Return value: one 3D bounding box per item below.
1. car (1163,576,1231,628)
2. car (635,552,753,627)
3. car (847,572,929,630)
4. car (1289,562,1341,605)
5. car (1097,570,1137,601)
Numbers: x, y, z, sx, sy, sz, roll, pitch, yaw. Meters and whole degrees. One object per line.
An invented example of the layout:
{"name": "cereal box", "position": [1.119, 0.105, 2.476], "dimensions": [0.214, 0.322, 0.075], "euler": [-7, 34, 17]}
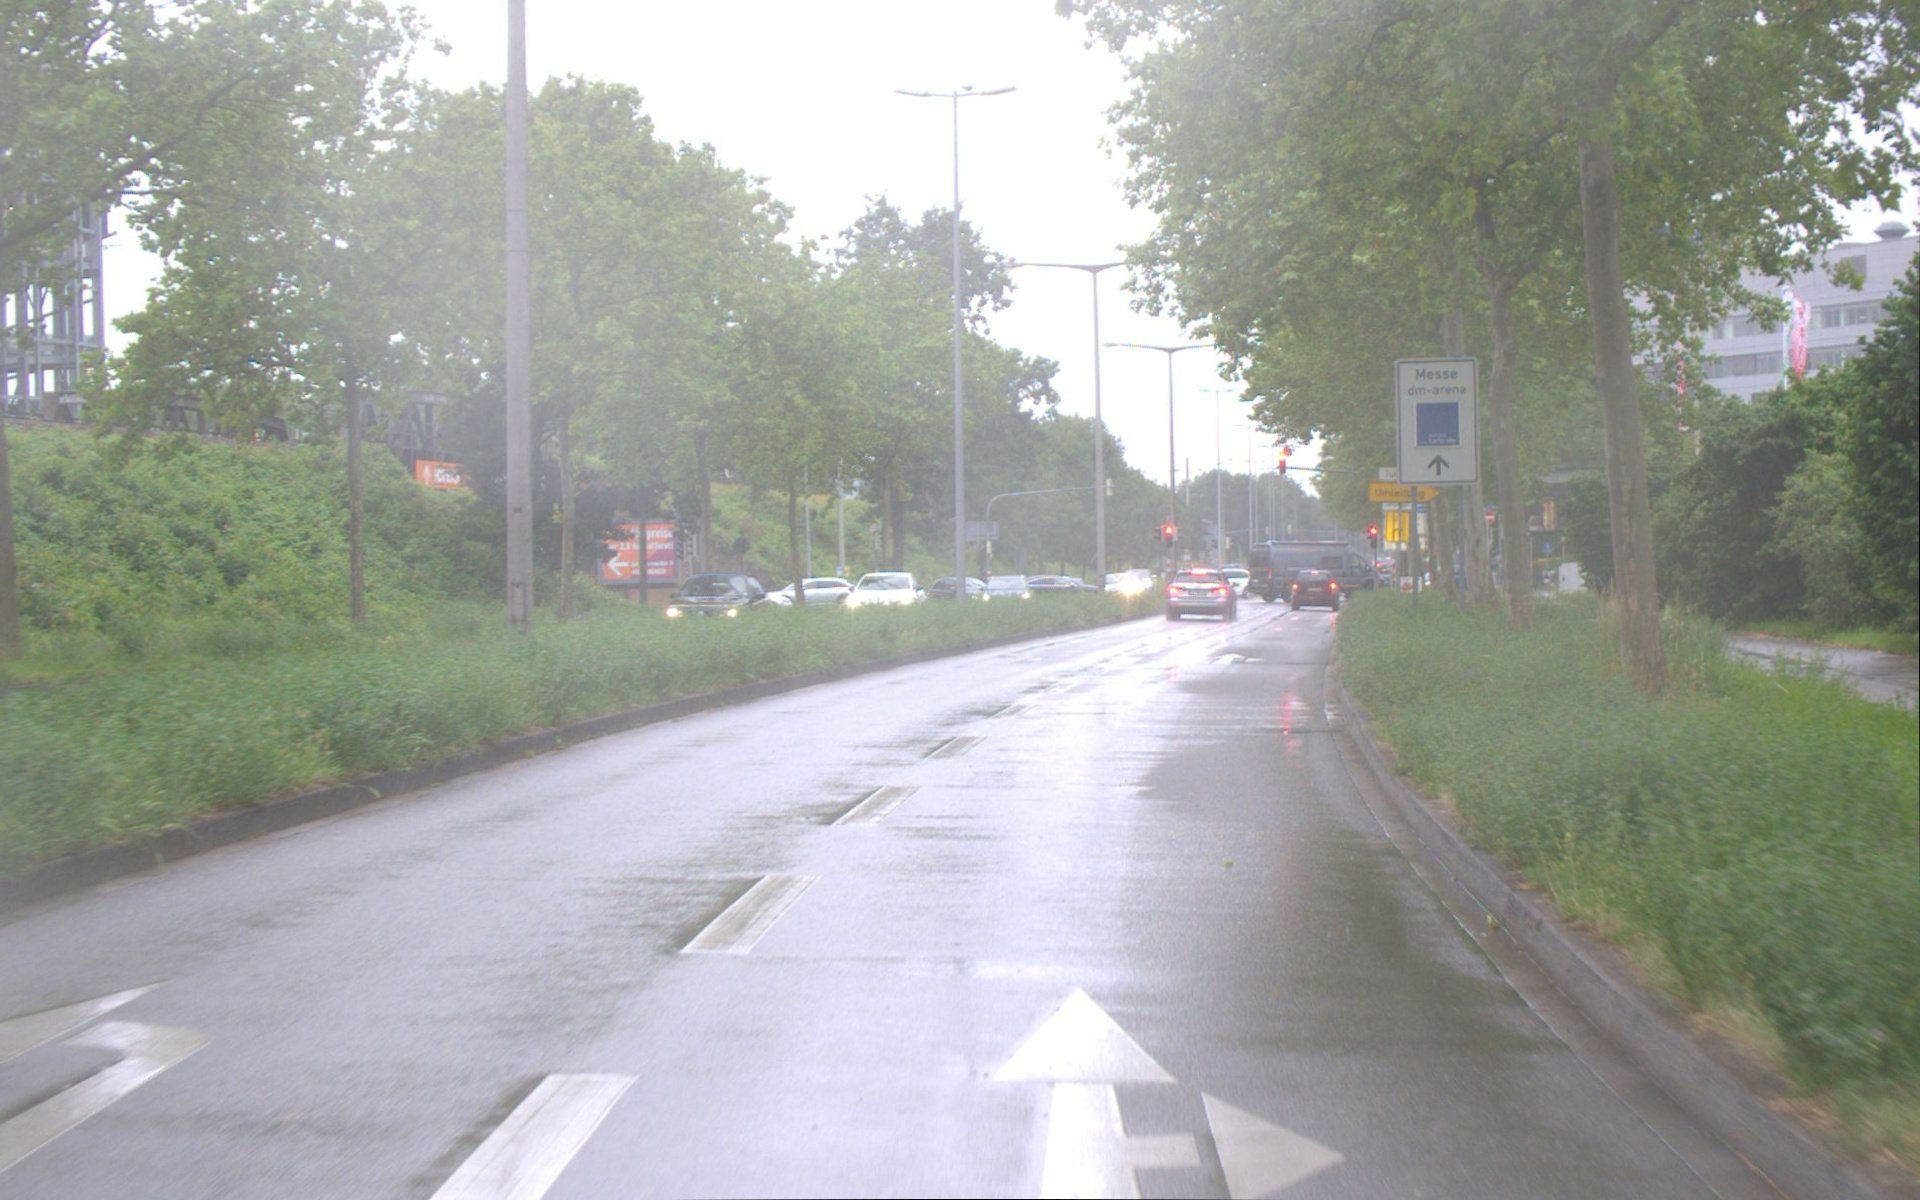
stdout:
{"name": "car", "position": [6.745, 0.054, 97.533], "dimensions": [1.690, 1.428, 4.573], "euler": [0, 0, 7]}
{"name": "car", "position": [-5.196, -0.234, 67.477], "dimensions": [1.631, 1.421, 3.999], "euler": [0, 1, 6]}
{"name": "car", "position": [-1.913, 0.015, 92.723], "dimensions": [1.702, 1.489, 4.204], "euler": [0, 1, 6]}
{"name": "car", "position": [13.133, -0.624, 127.178], "dimensions": [1.797, 1.532, 4.386], "euler": [1, 0, 7]}
{"name": "car", "position": [8.060, -0.752, 176.237], "dimensions": [1.713, 1.525, 3.999], "euler": [-1, 0, 7]}
